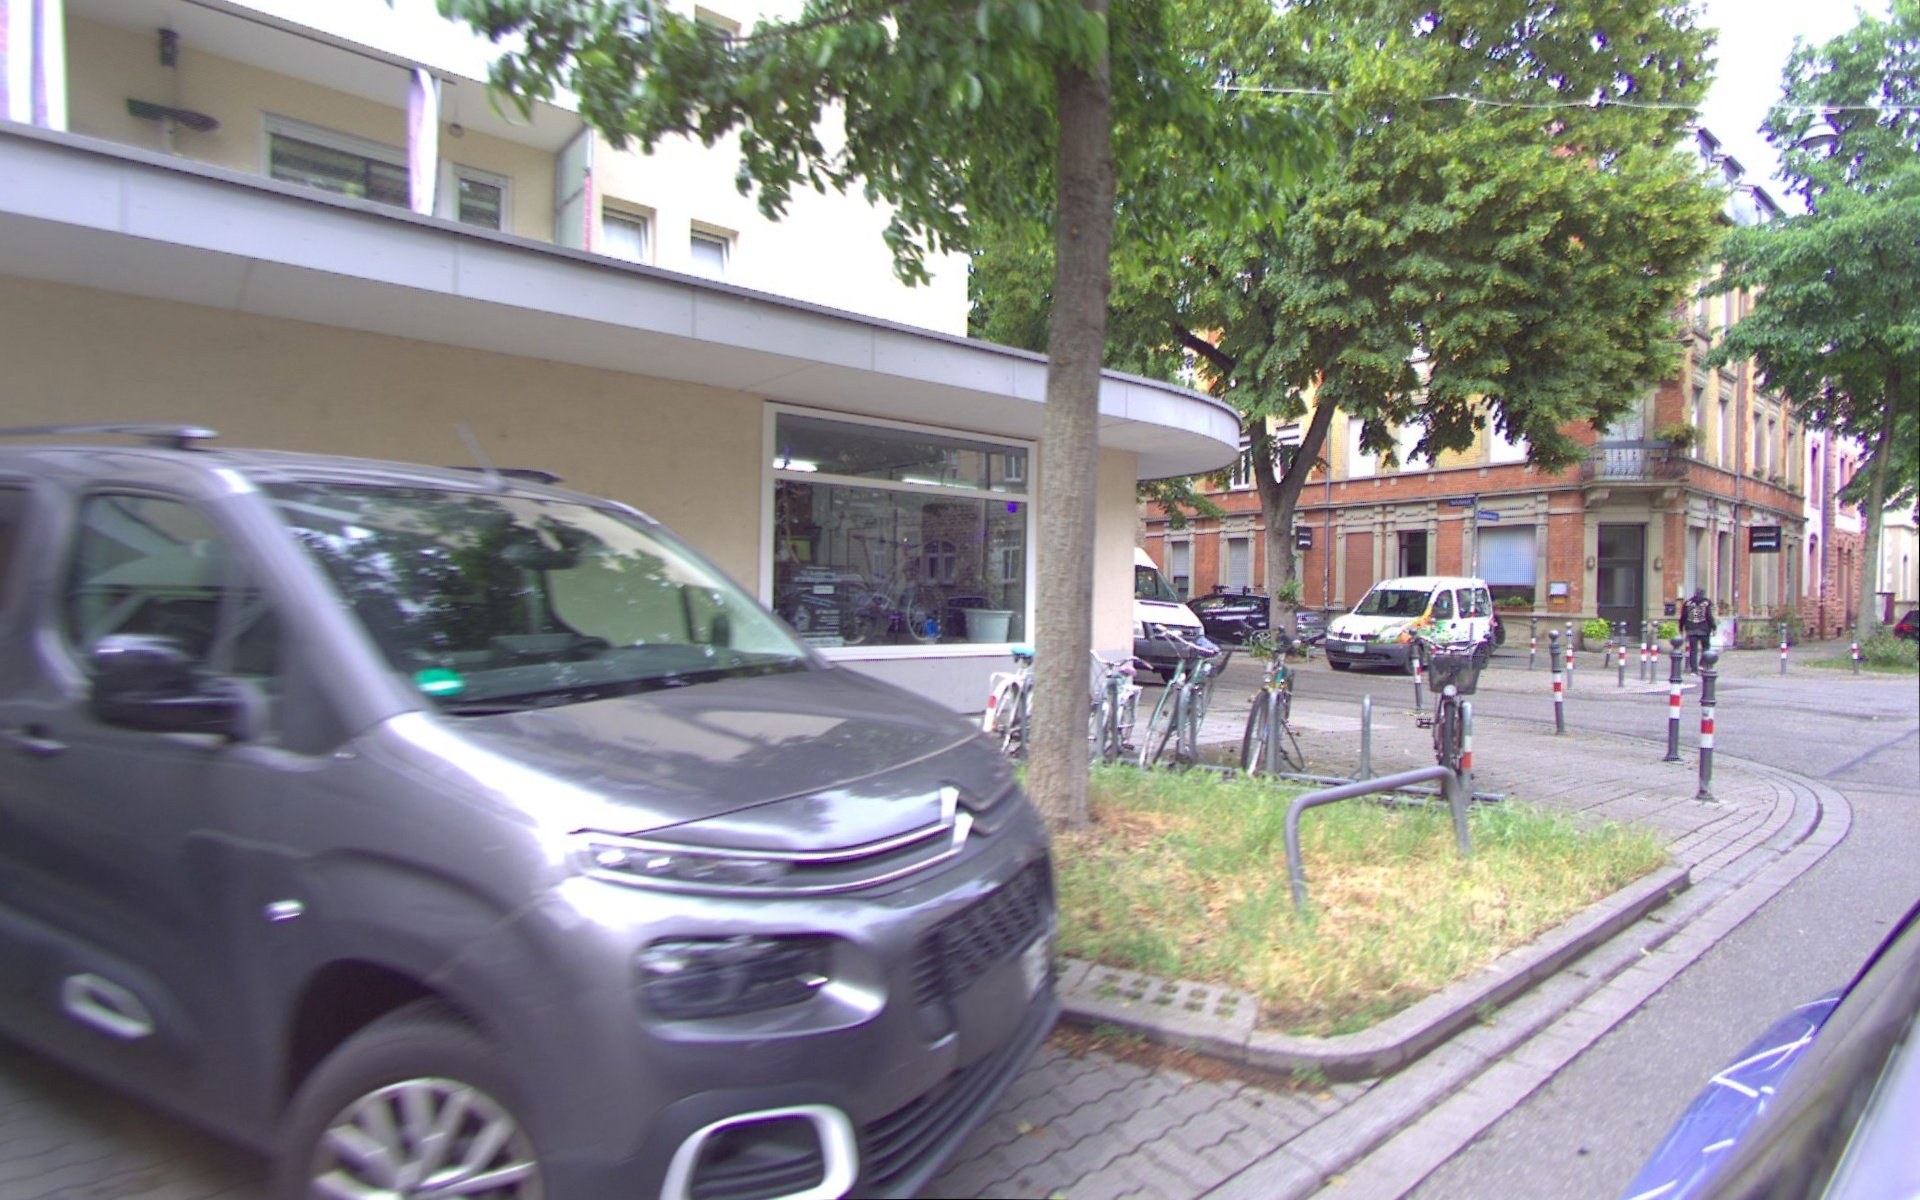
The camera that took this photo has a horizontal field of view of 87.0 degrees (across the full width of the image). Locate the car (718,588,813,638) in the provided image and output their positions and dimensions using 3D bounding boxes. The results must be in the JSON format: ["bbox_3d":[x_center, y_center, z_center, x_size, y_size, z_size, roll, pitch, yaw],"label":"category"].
[{"bbox_3d":[-6.179,0.374,31.796,1.740,1.436,4.005,0,1,-29],"label":"car"}]

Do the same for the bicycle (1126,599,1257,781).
[{"bbox_3d":[1.817,0.616,7.779,0.545,1.188,1.711,1,2,28],"label":"bicycle"}]

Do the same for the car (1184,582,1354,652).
[{"bbox_3d":[7.704,0.388,25.231,3.907,1.601,1.672,1,-1,23],"label":"car"}]

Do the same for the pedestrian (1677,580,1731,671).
[{"bbox_3d":[15.082,0.506,20.529,0.500,1.820,0.781,1,-1,-37],"label":"pedestrian"}]

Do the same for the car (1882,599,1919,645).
[{"bbox_3d":[33.236,0.821,32.907,4.385,1.445,1.749,3,2,17],"label":"car"}]

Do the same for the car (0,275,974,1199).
[{"bbox_3d":[-2.295,0.326,3.572,4.302,1.877,1.894,1,1,26],"label":"car"}]

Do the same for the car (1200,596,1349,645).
[{"bbox_3d":[9.786,0.584,31.829,1.960,1.371,4.338,-2,1,-28],"label":"car"}]

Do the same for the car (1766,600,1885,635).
[{"bbox_3d":[40.111,0.766,46.972,1.581,1.472,3.995,1,1,-40],"label":"car"}]

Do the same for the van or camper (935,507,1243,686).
[{"bbox_3d":[1.941,-0.048,17.563,2.093,2.526,5.796,4,-1,-30],"label":"van or camper"}]

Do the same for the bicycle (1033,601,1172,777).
[{"bbox_3d":[1.170,0.627,8.016,0.545,1.188,1.681,1,2,28],"label":"bicycle"}]

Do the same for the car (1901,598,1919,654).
[{"bbox_3d":[28.057,0.738,28.445,4.399,1.504,1.768,0,2,-40],"label":"car"}]

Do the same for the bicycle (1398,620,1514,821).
[{"bbox_3d":[3.336,0.714,6.771,0.602,1.108,1.768,1,0,28],"label":"bicycle"}]

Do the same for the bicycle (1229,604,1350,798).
[{"bbox_3d":[2.451,0.655,7.410,0.545,1.188,1.711,1,2,28],"label":"bicycle"}]

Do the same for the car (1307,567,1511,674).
[{"bbox_3d":[8.558,0.346,19.209,3.924,1.842,1.776,0,1,-35],"label":"car"}]

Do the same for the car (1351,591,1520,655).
[{"bbox_3d":[12.621,0.557,27.089,1.628,1.559,3.837,-1,1,-32],"label":"car"}]

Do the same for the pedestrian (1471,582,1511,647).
[{"bbox_3d":[14.270,0.379,27.207,0.551,1.728,0.750,1,0,-28],"label":"pedestrian"}]
